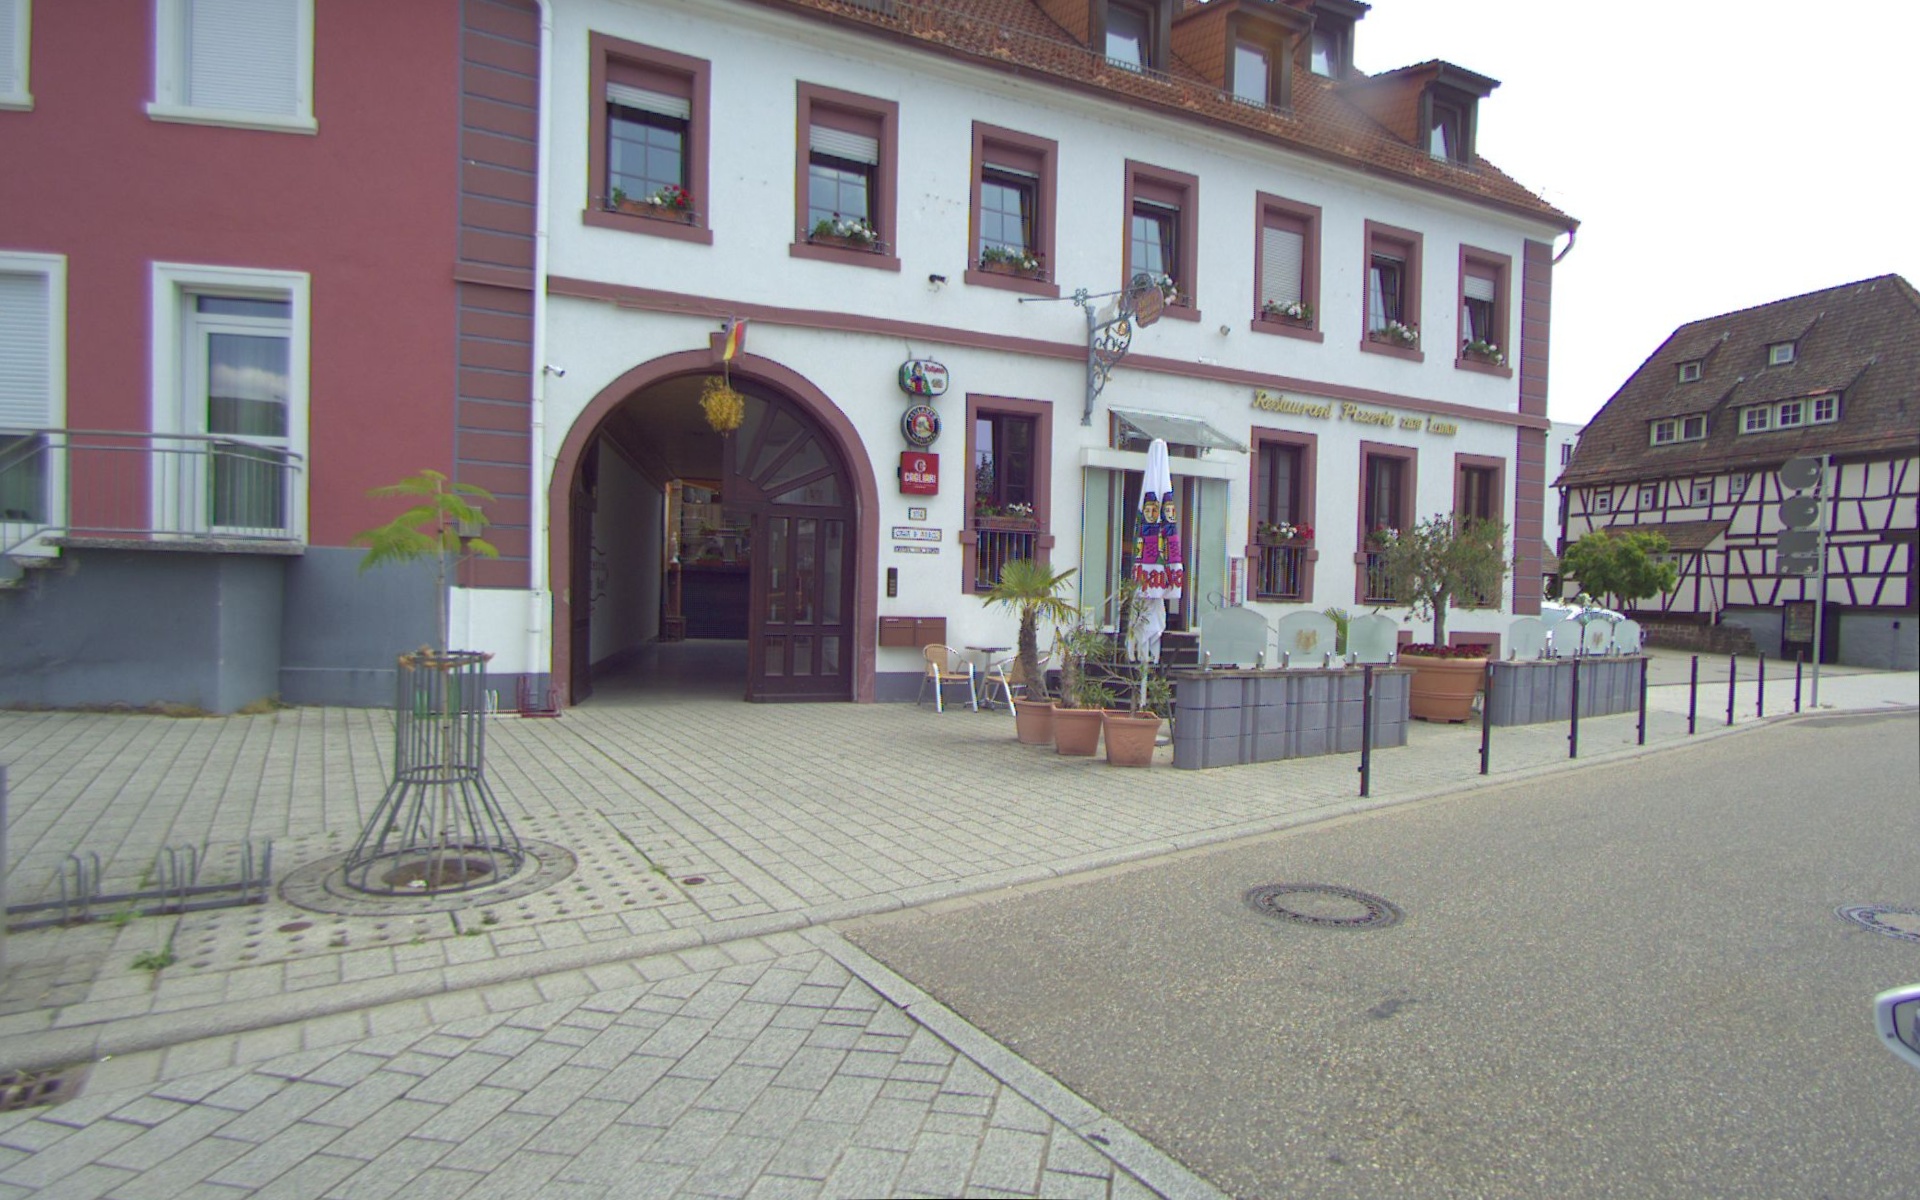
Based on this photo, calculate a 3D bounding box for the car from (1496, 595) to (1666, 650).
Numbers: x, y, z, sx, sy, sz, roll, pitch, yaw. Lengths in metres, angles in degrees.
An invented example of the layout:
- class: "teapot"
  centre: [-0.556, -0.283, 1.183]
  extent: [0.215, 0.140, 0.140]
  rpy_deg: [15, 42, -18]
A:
- class: "car"
  centre: [20.605, 0.714, 33.539]
  extent: [1.938, 1.408, 4.411]
  rpy_deg: [1, 3, -26]

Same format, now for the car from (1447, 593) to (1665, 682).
- class: "car"
  centre: [12.068, 0.742, 20.311]
  extent: [4.222, 1.512, 1.751]
  rpy_deg: [2, 4, -28]
